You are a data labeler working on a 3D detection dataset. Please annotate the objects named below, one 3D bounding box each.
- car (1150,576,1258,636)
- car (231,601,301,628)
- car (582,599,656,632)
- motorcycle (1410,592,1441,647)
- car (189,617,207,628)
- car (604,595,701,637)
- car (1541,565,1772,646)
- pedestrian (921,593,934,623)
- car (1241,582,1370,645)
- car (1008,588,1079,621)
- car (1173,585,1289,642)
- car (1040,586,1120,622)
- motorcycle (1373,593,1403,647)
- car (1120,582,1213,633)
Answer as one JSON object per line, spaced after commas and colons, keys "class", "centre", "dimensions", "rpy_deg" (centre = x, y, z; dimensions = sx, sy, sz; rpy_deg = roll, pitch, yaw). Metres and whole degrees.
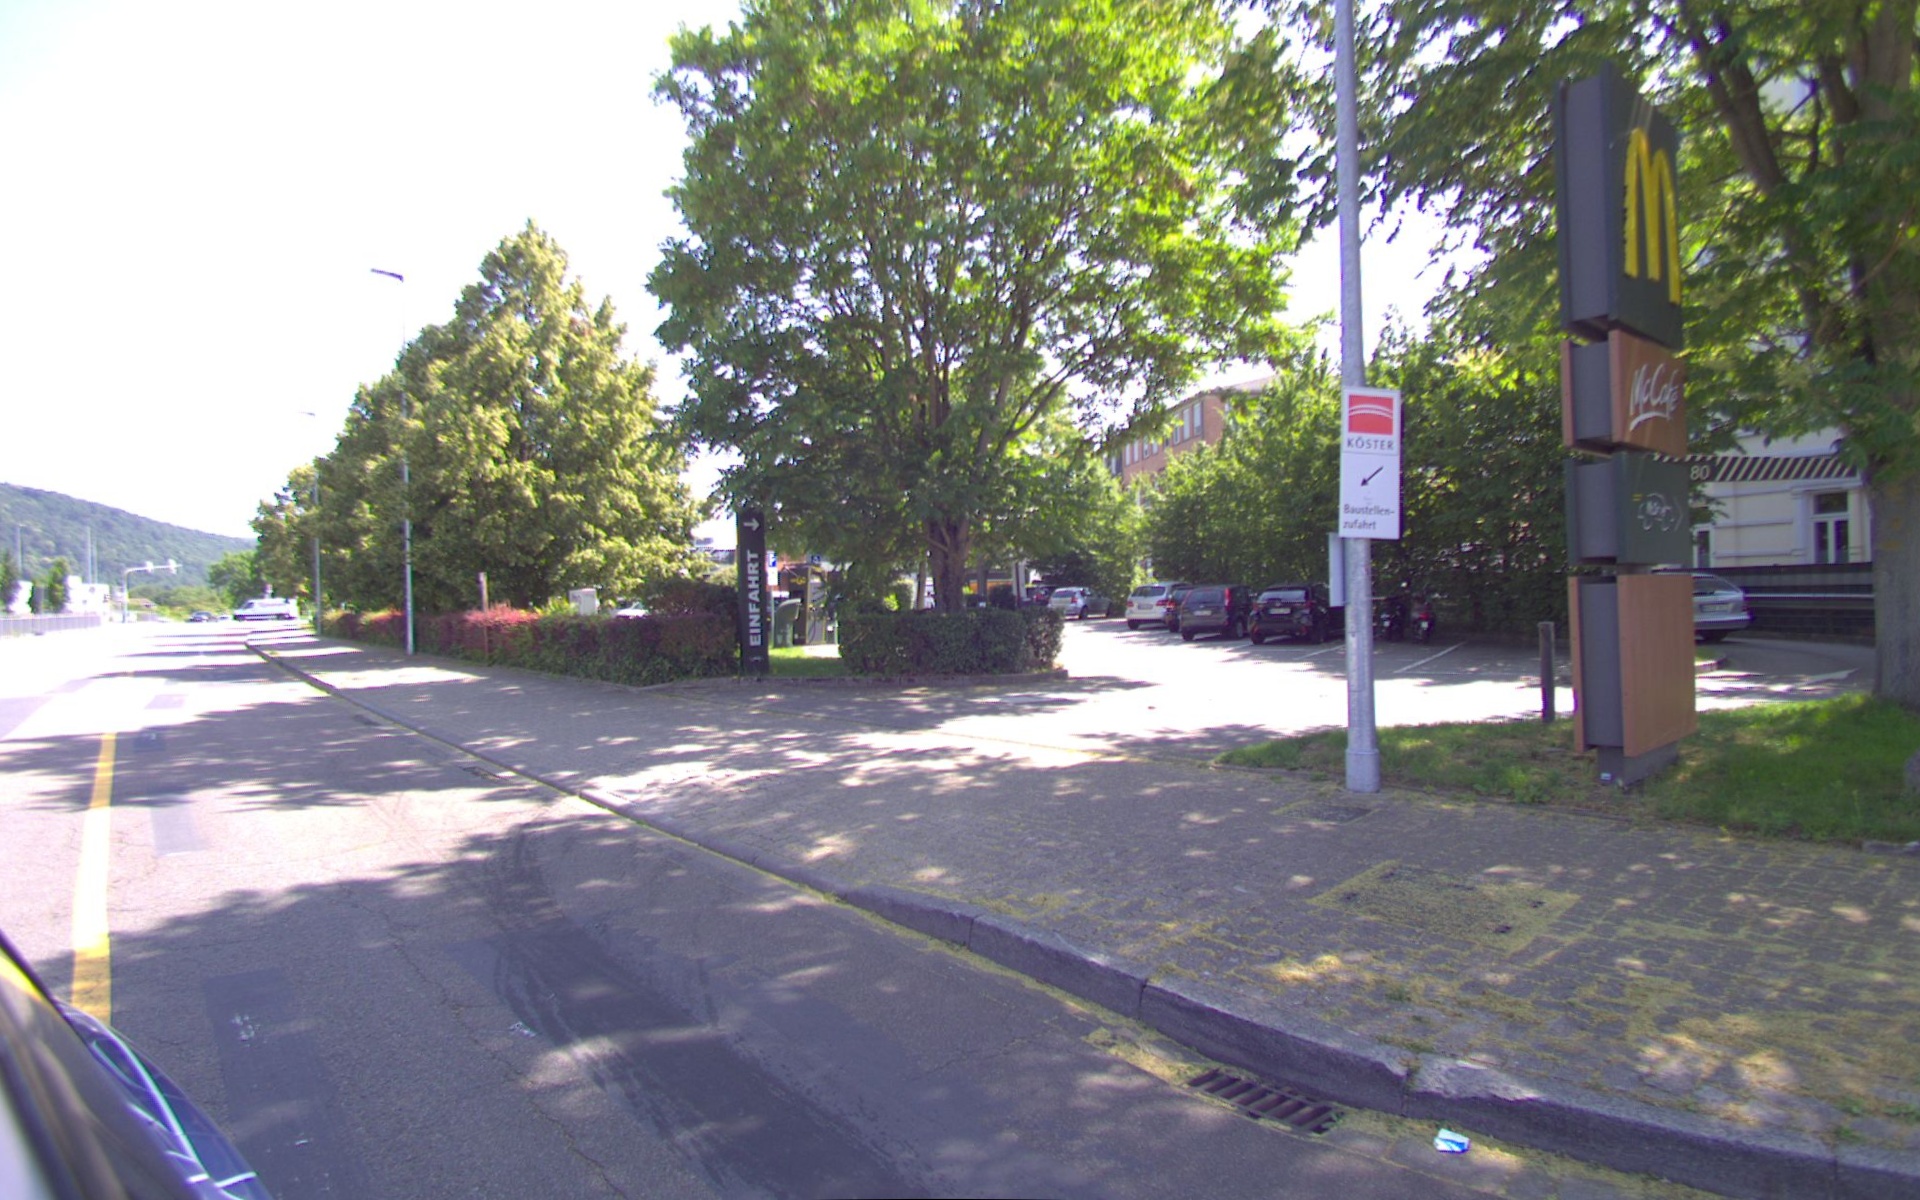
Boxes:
{"class": "car", "centre": [7.887, 0.146, 32.436], "dimensions": [1.800, 1.745, 3.971], "rpy_deg": [-1, 1, 39]}
{"class": "car", "centre": [-73.570, 1.532, 107.319], "dimensions": [5.537, 2.362, 2.318], "rpy_deg": [-3, 3, -8]}
{"class": "car", "centre": [-19.951, 0.896, 59.101], "dimensions": [4.212, 1.812, 1.742], "rpy_deg": [-2, 1, 31]}
{"class": "motorcycle", "centre": [10.394, 0.412, 22.635], "dimensions": [0.566, 1.140, 2.166], "rpy_deg": [-2, 1, 23]}
{"class": "car", "centre": [-88.577, 2.614, 117.660], "dimensions": [1.585, 1.264, 3.691], "rpy_deg": [-1, 0, -37]}
{"class": "car", "centre": [-14.672, 0.750, 48.458], "dimensions": [1.744, 1.841, 4.304], "rpy_deg": [-2, 0, 34]}
{"class": "car", "centre": [14.356, 0.118, 21.218], "dimensions": [1.690, 1.414, 4.386], "rpy_deg": [-3, 0, -1]}
{"class": "pedestrian", "centre": [-1.638, 0.407, 51.159], "dimensions": [0.507, 1.491, 0.537], "rpy_deg": [-2, 0, -9]}
{"class": "car", "centre": [8.802, 0.300, 25.568], "dimensions": [1.768, 1.398, 4.042], "rpy_deg": [-1, 1, 39]}
{"class": "car", "centre": [4.420, 0.221, 53.286], "dimensions": [1.818, 1.588, 3.818], "rpy_deg": [-1, 1, 40]}
{"class": "car", "centre": [7.666, 0.342, 28.366], "dimensions": [1.626, 1.405, 4.018], "rpy_deg": [-1, 1, 39]}
{"class": "car", "centre": [5.480, 0.181, 46.058], "dimensions": [1.792, 1.461, 3.996], "rpy_deg": [-2, 1, 38]}
{"class": "motorcycle", "centre": [9.935, 0.441, 23.473], "dimensions": [0.566, 1.124, 2.166], "rpy_deg": [-2, 1, 23]}
{"class": "car", "centre": [7.286, 0.231, 35.438], "dimensions": [1.641, 1.599, 3.801], "rpy_deg": [-2, 1, 38]}
